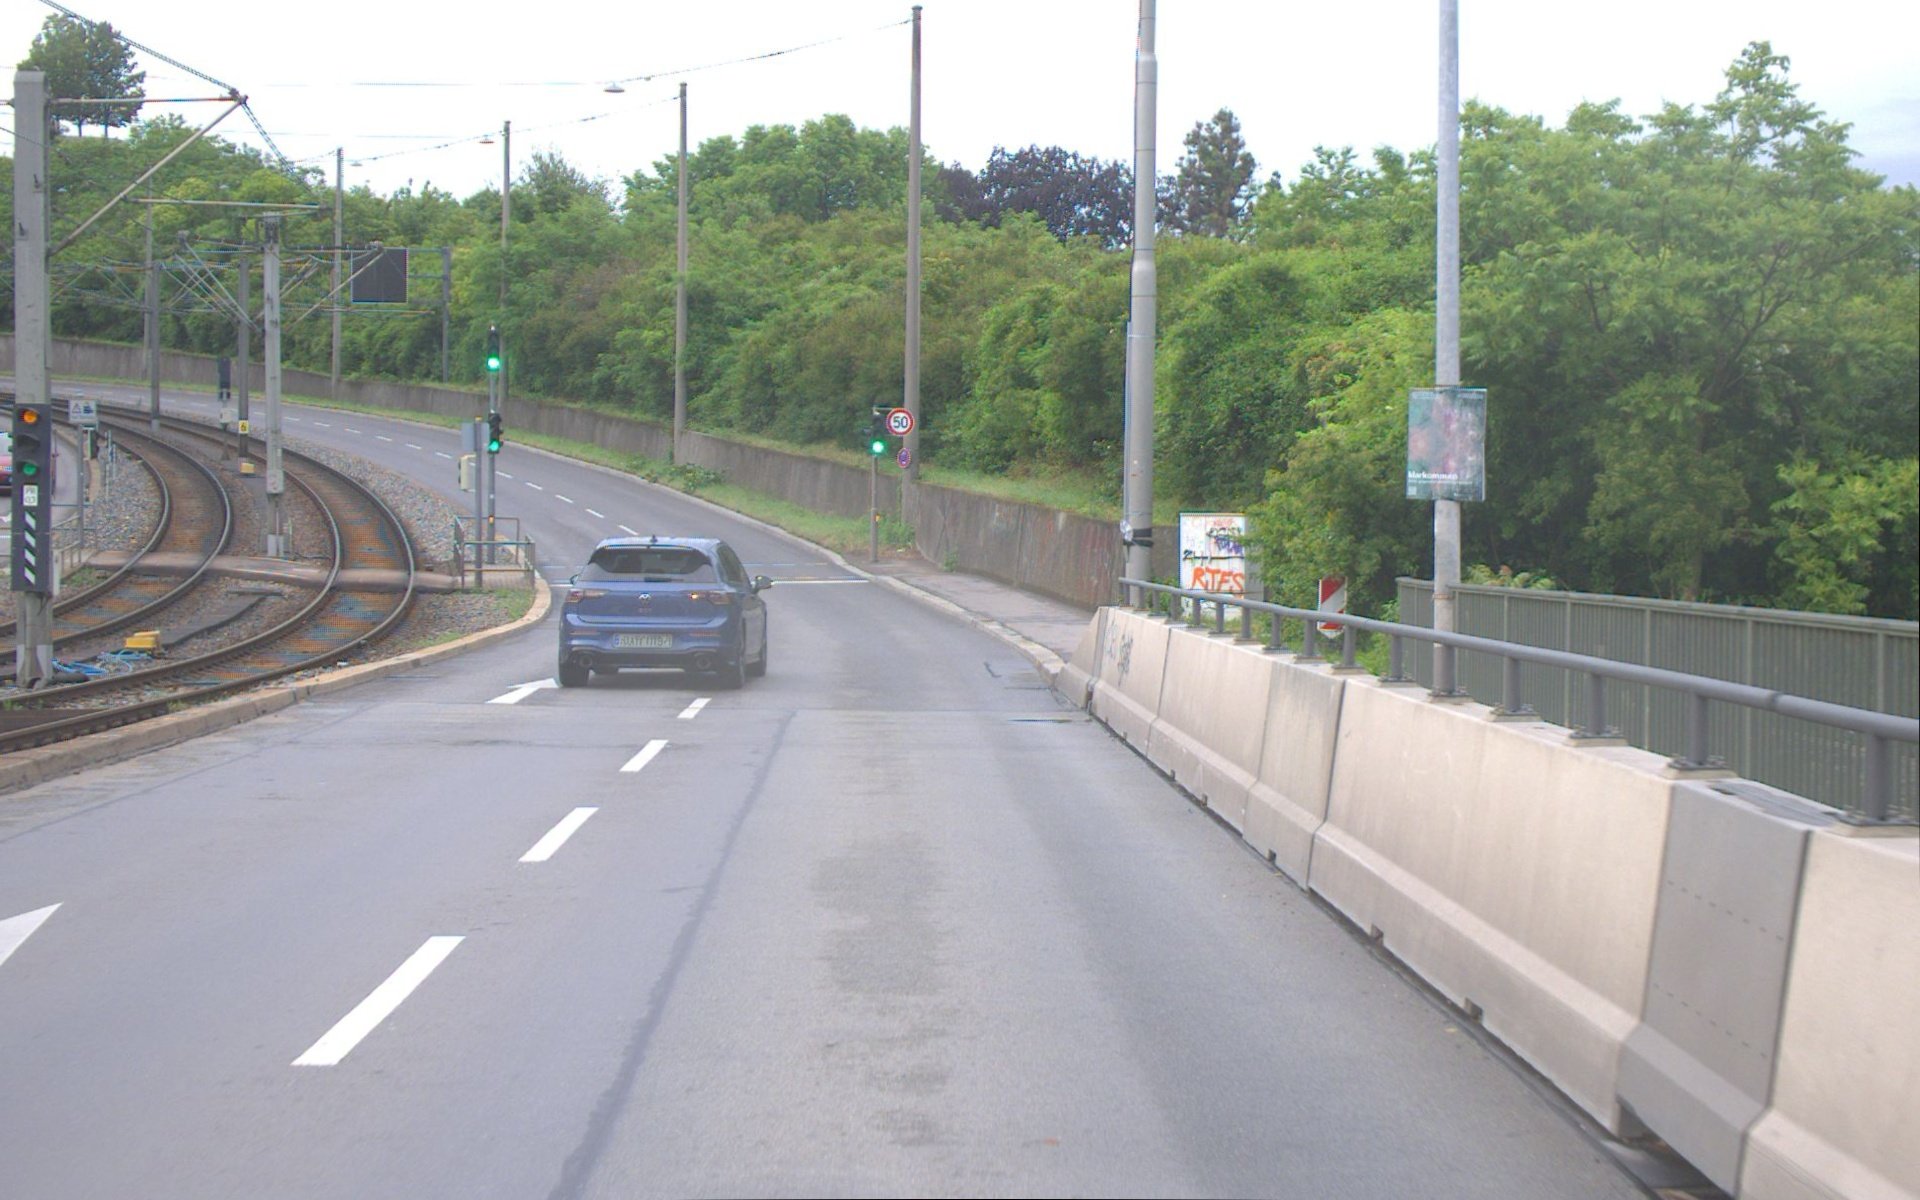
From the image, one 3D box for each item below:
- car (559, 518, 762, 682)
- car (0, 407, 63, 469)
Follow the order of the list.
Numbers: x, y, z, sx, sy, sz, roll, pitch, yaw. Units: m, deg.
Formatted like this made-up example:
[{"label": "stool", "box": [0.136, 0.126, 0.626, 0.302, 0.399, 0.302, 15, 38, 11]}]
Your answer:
[{"label": "car", "box": [-2.905, -0.033, 34.008, 1.763, 1.496, 4.000, 1, 1, -2]}, {"label": "car", "box": [-25.623, -4.442, 93.924, 1.847, 1.591, 4.734, -1, 4, -11]}]
